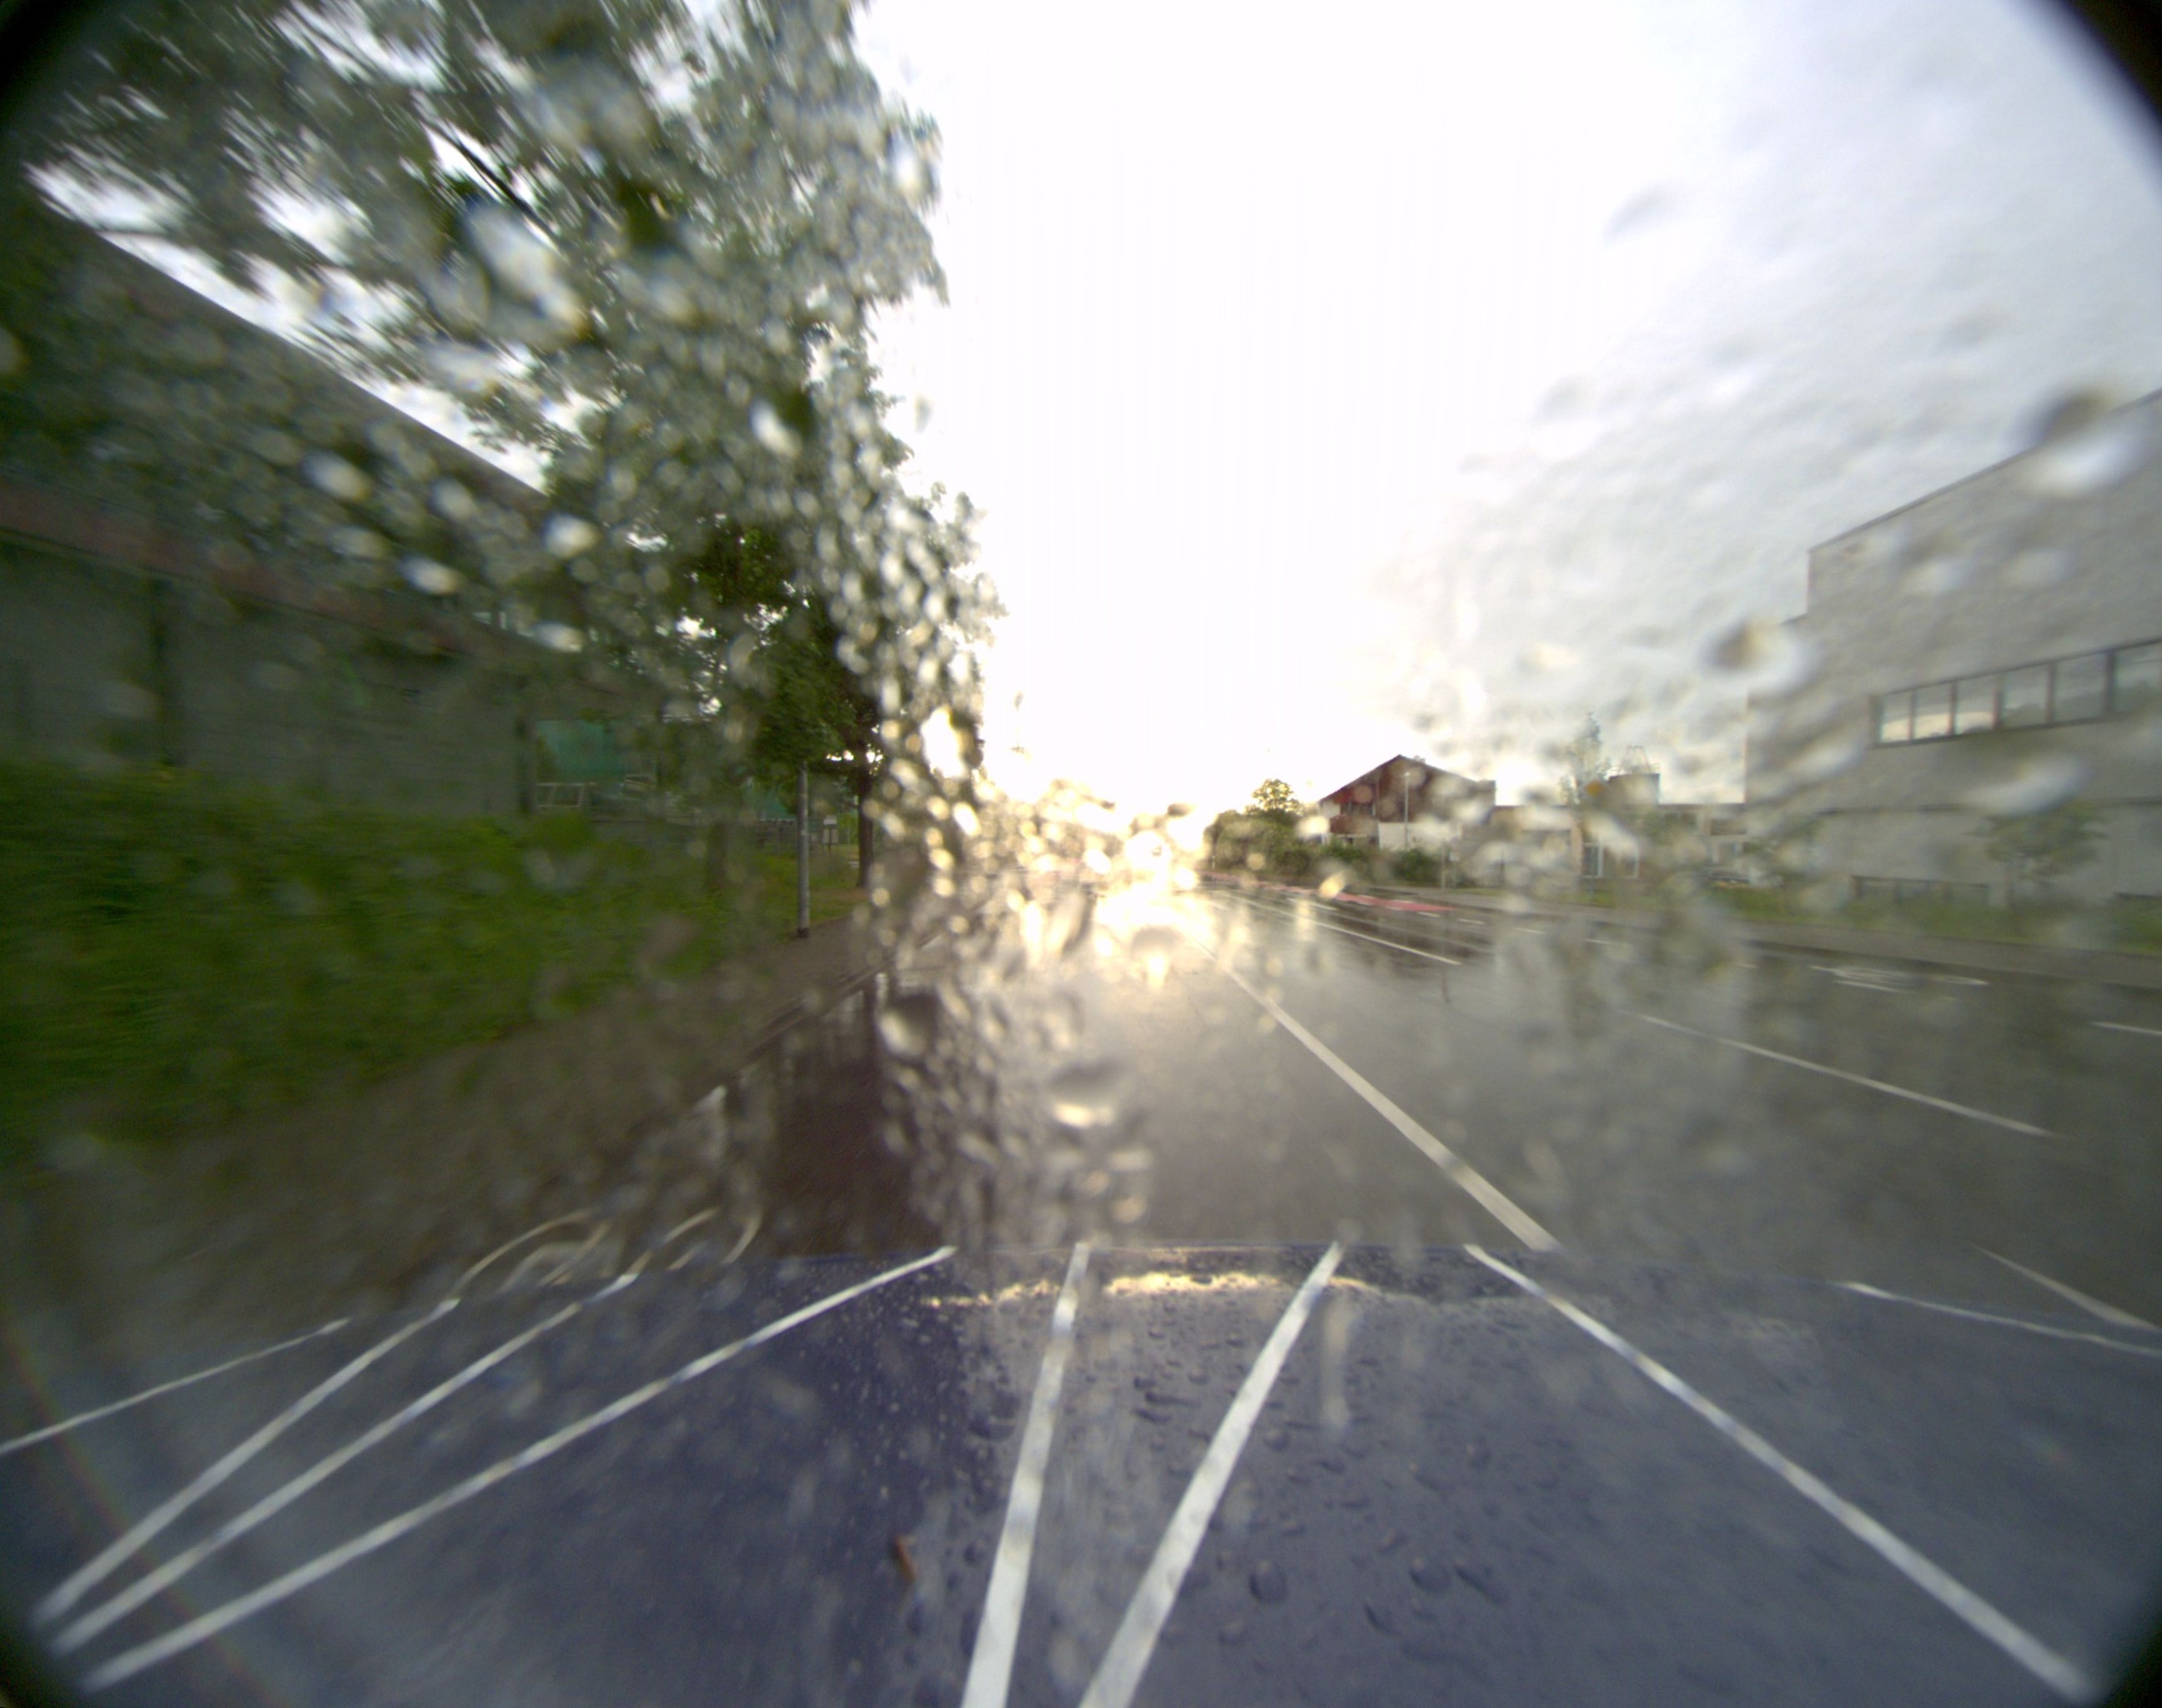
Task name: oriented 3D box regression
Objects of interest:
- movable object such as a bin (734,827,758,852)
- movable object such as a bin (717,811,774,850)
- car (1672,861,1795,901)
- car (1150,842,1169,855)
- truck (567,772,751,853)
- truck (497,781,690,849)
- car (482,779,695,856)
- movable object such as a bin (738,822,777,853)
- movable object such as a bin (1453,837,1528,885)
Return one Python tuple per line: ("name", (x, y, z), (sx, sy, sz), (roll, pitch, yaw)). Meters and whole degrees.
("movable object such as a bin", (-11.432, -0.488, 25.974), (0.539, 0.813, 0.566), (2, 1, 1))
("movable object such as a bin", (-13.575, -0.947, 30.811), (1.859, 1.492, 1.309), (2, 1, -13))
("car", (30.135, 1.248, 35.131), (4.449, 1.601, 1.955), (2, 1, -13))
("car", (12.934, -0.930, 125.445), (2.360, 1.805, 6.875), (2, 2, 1))
("truck", (-14.087, -1.347, 25.638), (4.834, 2.328, 2.249), (3, 1, -3))
("truck", (-17.977, -1.405, 28.254), (5.651, 2.201, 2.111), (2, 1, -5))
("car", (-14.517, -1.043, 22.621), (4.935, 2.002, 2.062), (2, 1, -1))
("movable object such as a bin", (-11.477, -0.593, 27.000), (0.883, 1.036, 1.053), (2, 1, 3))
("movable object such as a bin", (23.521, 0.393, 43.740), (3.335, 2.542, 1.739), (2, 1, 7))
